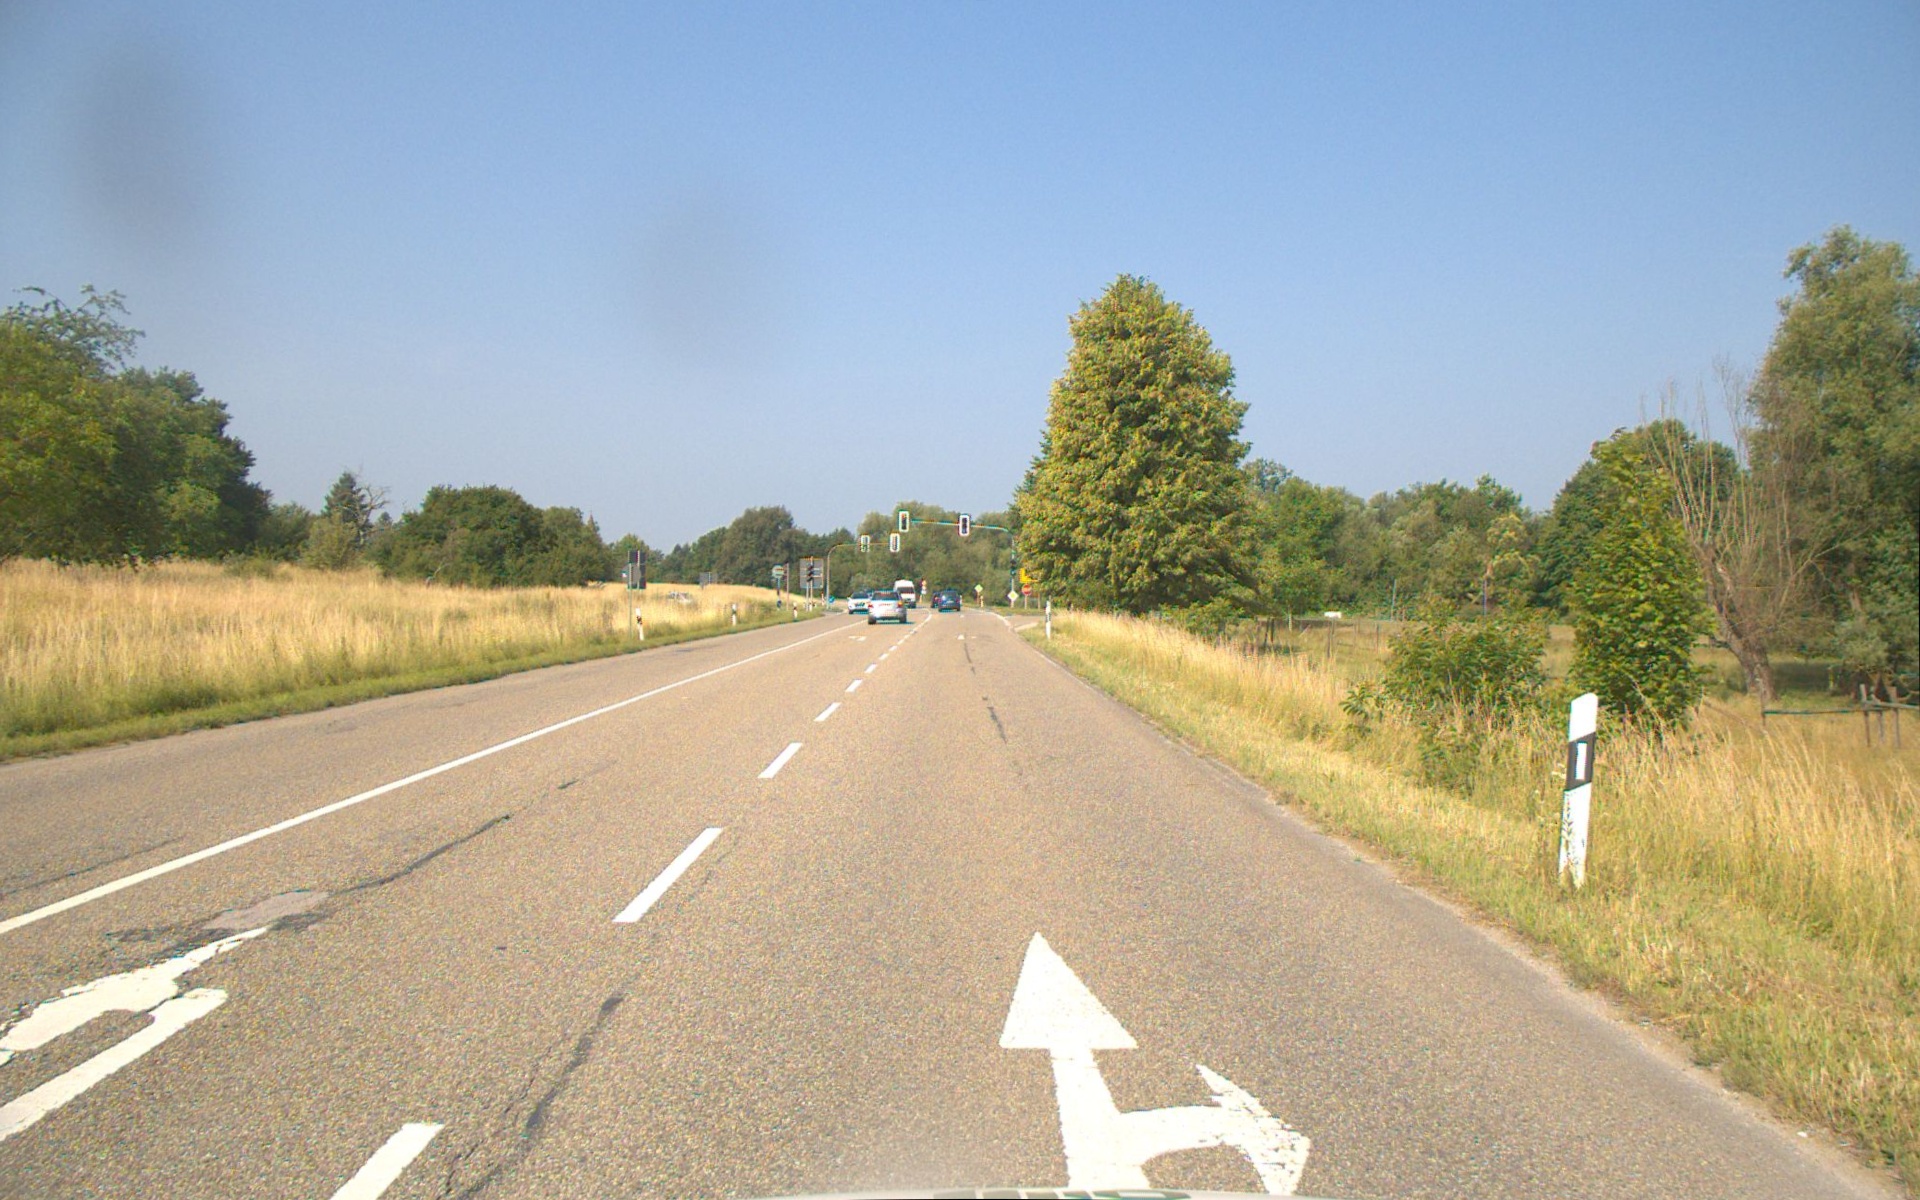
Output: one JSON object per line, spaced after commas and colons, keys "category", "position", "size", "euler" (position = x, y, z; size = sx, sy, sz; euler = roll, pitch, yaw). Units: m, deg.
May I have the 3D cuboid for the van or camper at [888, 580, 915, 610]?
{"category": "van or camper", "position": [-5.697, -0.470, 161.277], "size": [2.218, 2.757, 5.262], "euler": [3, 0, 0]}

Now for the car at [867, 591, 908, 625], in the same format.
{"category": "car", "position": [-3.597, 0.395, 82.409], "size": [1.861, 1.538, 3.999], "euler": [3, 0, -1]}

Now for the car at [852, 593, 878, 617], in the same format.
{"category": "car", "position": [-7.325, 0.389, 128.119], "size": [1.559, 1.758, 4.001], "euler": [3, 0, 2]}

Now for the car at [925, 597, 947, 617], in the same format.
{"category": "car", "position": [-2.328, 0.658, 160.375], "size": [1.953, 1.847, 3.999], "euler": [3, 0, -1]}

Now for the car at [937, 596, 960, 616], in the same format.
{"category": "car", "position": [-0.924, 0.486, 133.813], "size": [1.779, 1.547, 4.000], "euler": [3, 0, 0]}
